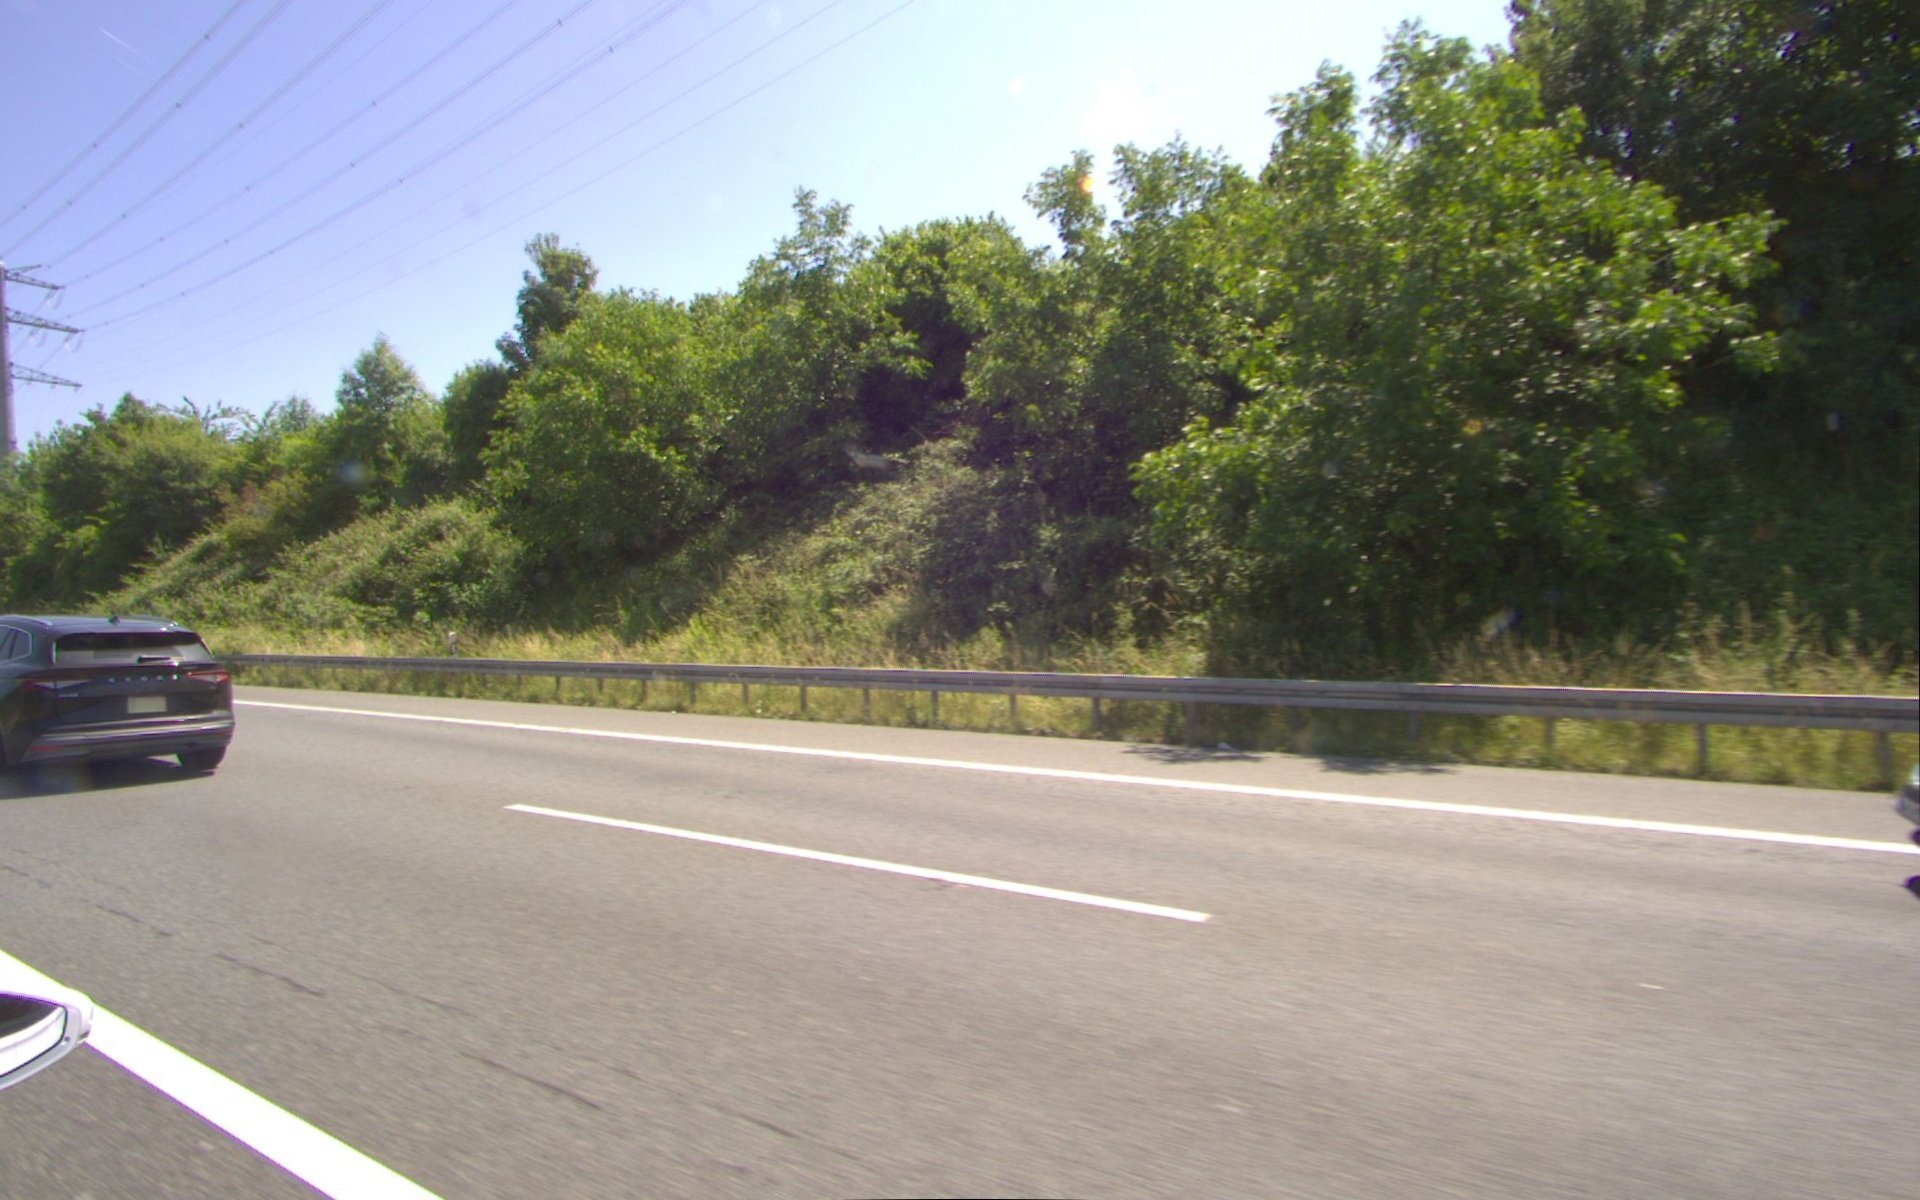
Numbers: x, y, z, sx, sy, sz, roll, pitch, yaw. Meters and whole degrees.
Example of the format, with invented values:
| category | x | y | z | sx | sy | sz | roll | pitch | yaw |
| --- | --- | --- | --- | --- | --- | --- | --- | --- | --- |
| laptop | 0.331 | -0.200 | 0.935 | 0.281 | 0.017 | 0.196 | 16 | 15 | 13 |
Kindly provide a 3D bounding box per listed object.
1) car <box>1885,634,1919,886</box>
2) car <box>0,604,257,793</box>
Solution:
| category | x | y | z | sx | sy | sz | roll | pitch | yaw |
| --- | --- | --- | --- | --- | --- | --- | --- | --- | --- |
| car | 7.003 | 0.842 | 4.246 | 4.241 | 1.395 | 1.732 | -1 | -2 | 32 |
| car | -9.471 | 0.899 | 10.614 | 4.368 | 1.635 | 1.824 | -1 | -1 | 33 |
